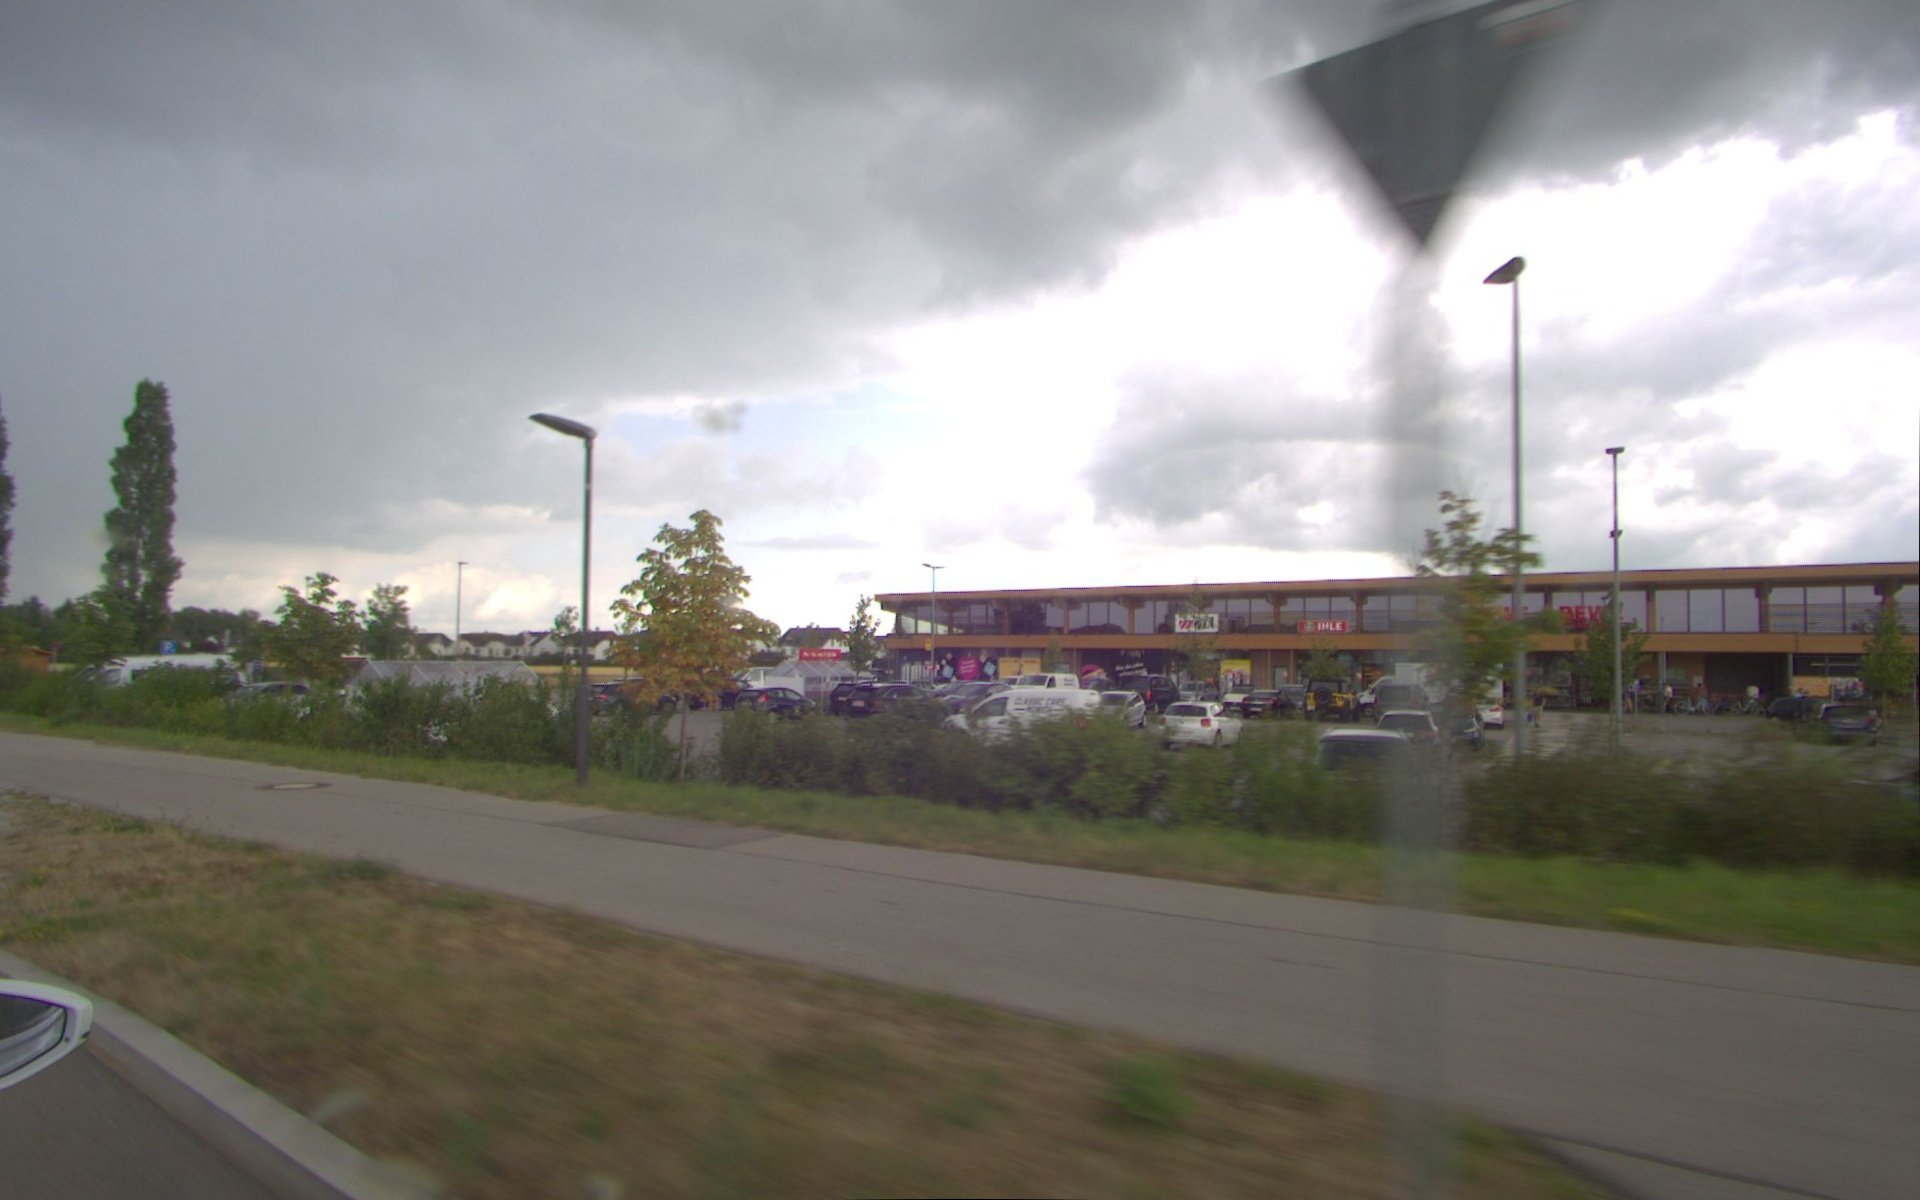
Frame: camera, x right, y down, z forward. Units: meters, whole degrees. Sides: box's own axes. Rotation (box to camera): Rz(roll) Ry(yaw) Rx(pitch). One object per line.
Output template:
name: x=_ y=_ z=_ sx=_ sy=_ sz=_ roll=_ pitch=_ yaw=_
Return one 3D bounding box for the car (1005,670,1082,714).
car: x=4.520 y=4.842 z=53.297 sx=1.972 sy=2.039 sz=5.120 roll=-1 pitch=-2 yaw=32

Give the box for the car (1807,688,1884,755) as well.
car: x=31.955 y=4.326 z=36.159 sx=1.978 sy=2.039 sz=3.968 roll=-1 pitch=-2 yaw=42

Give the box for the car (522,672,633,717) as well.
car: x=-16.180 y=3.972 z=42.497 sx=1.975 sy=1.638 sz=3.973 roll=-1 pitch=-2 yaw=38

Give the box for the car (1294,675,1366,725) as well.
car: x=17.057 y=4.551 z=46.048 sx=1.975 sy=2.039 sz=3.973 roll=-1 pitch=-2 yaw=38

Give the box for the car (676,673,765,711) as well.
car: x=-11.832 y=4.509 z=49.737 sx=1.975 sy=1.638 sz=3.973 roll=-1 pitch=-2 yaw=38

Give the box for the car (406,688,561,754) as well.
car: x=-13.627 y=3.410 z=28.843 sx=1.652 sy=1.557 sz=3.750 roll=-1 pitch=-2 yaw=32

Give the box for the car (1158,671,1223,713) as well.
car: x=12.780 y=5.033 z=55.307 sx=1.975 sy=2.039 sz=4.095 roll=-1 pitch=-2 yaw=38

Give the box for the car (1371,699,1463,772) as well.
car: x=12.071 y=3.502 z=26.339 sx=1.776 sy=1.726 sz=3.379 roll=-1 pitch=-6 yaw=32

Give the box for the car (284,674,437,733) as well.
car: x=-18.502 y=3.155 z=31.063 sx=1.652 sy=1.557 sz=3.750 roll=-1 pitch=-2 yaw=32

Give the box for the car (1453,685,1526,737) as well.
car: x=22.393 y=4.625 z=42.297 sx=2.046 sy=1.871 sz=3.973 roll=-1 pitch=-2 yaw=38

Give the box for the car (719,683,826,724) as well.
car: x=-7.415 y=4.097 z=39.952 sx=1.972 sy=1.459 sz=3.982 roll=-1 pitch=-4 yaw=33

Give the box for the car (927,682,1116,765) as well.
car: x=1.679 y=3.341 z=27.886 sx=4.871 sy=1.930 sz=2.100 roll=-1 pitch=-2 yaw=32

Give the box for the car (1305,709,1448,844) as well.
car: x=7.271 y=2.895 z=17.258 sx=1.634 sy=1.727 sz=3.980 roll=-1 pitch=-2 yaw=32

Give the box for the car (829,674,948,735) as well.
car: x=-2.532 y=3.738 z=36.344 sx=1.975 sy=1.894 sz=4.245 roll=-1 pitch=-2 yaw=38

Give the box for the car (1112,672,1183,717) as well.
car: x=9.516 y=4.736 z=50.693 sx=1.975 sy=2.039 sz=3.973 roll=-1 pitch=-2 yaw=38

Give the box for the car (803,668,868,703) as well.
car: x=-7.578 y=5.221 z=61.327 sx=2.010 sy=1.936 sz=3.887 roll=-1 pitch=-2 yaw=32

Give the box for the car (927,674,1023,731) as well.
car: x=0.667 y=4.142 z=41.201 sx=1.975 sy=2.039 sz=3.973 roll=-1 pitch=-2 yaw=38

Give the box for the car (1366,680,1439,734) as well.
car: x=19.394 y=4.632 z=43.812 sx=2.046 sy=2.039 sz=3.973 roll=-1 pitch=-2 yaw=38

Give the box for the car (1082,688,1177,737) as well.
car: x=6.667 y=4.321 z=39.041 sx=1.975 sy=1.571 sz=4.103 roll=-1 pitch=-2 yaw=38

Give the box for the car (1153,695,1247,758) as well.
car: x=7.267 y=3.738 z=30.141 sx=1.728 sy=1.552 sz=3.543 roll=-1 pitch=-2 yaw=32

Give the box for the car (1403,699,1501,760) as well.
car: x=15.515 y=3.993 z=31.483 sx=1.975 sy=1.504 sz=4.103 roll=-1 pitch=-2 yaw=38

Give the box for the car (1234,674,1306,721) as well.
car: x=14.742 y=4.607 z=47.455 sx=1.975 sy=2.037 sz=3.976 roll=-1 pitch=-5 yaw=38

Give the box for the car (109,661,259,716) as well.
car: x=-32.490 y=3.651 z=42.052 sx=1.971 sy=2.039 sz=4.586 roll=-1 pitch=-2 yaw=32

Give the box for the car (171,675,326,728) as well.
car: x=-25.831 y=3.644 z=36.473 sx=2.051 sy=1.618 sz=4.140 roll=-1 pitch=-2 yaw=32

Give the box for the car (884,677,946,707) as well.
car: x=-2.592 y=5.355 z=58.574 sx=1.769 sy=1.496 sz=3.729 roll=-1 pitch=-2 yaw=34

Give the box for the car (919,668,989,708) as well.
car: x=-0.304 y=4.996 z=57.237 sx=1.975 sy=2.039 sz=3.973 roll=-1 pitch=-2 yaw=38

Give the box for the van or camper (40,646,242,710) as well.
van or camper: x=-35.511 y=3.288 z=43.674 sx=2.248 sy=2.495 sz=6.458 roll=-1 pitch=-2 yaw=31

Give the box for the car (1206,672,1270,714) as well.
car: x=15.039 y=4.982 z=54.150 sx=1.975 sy=2.039 sz=3.973 roll=-1 pitch=-2 yaw=38

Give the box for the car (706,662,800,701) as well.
car: x=-11.871 y=4.653 z=57.727 sx=1.977 sy=2.039 sz=5.194 roll=-1 pitch=-2 yaw=40

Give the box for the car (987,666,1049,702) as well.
car: x=3.629 y=5.180 z=62.568 sx=1.975 sy=2.039 sz=3.973 roll=-1 pitch=-2 yaw=38
